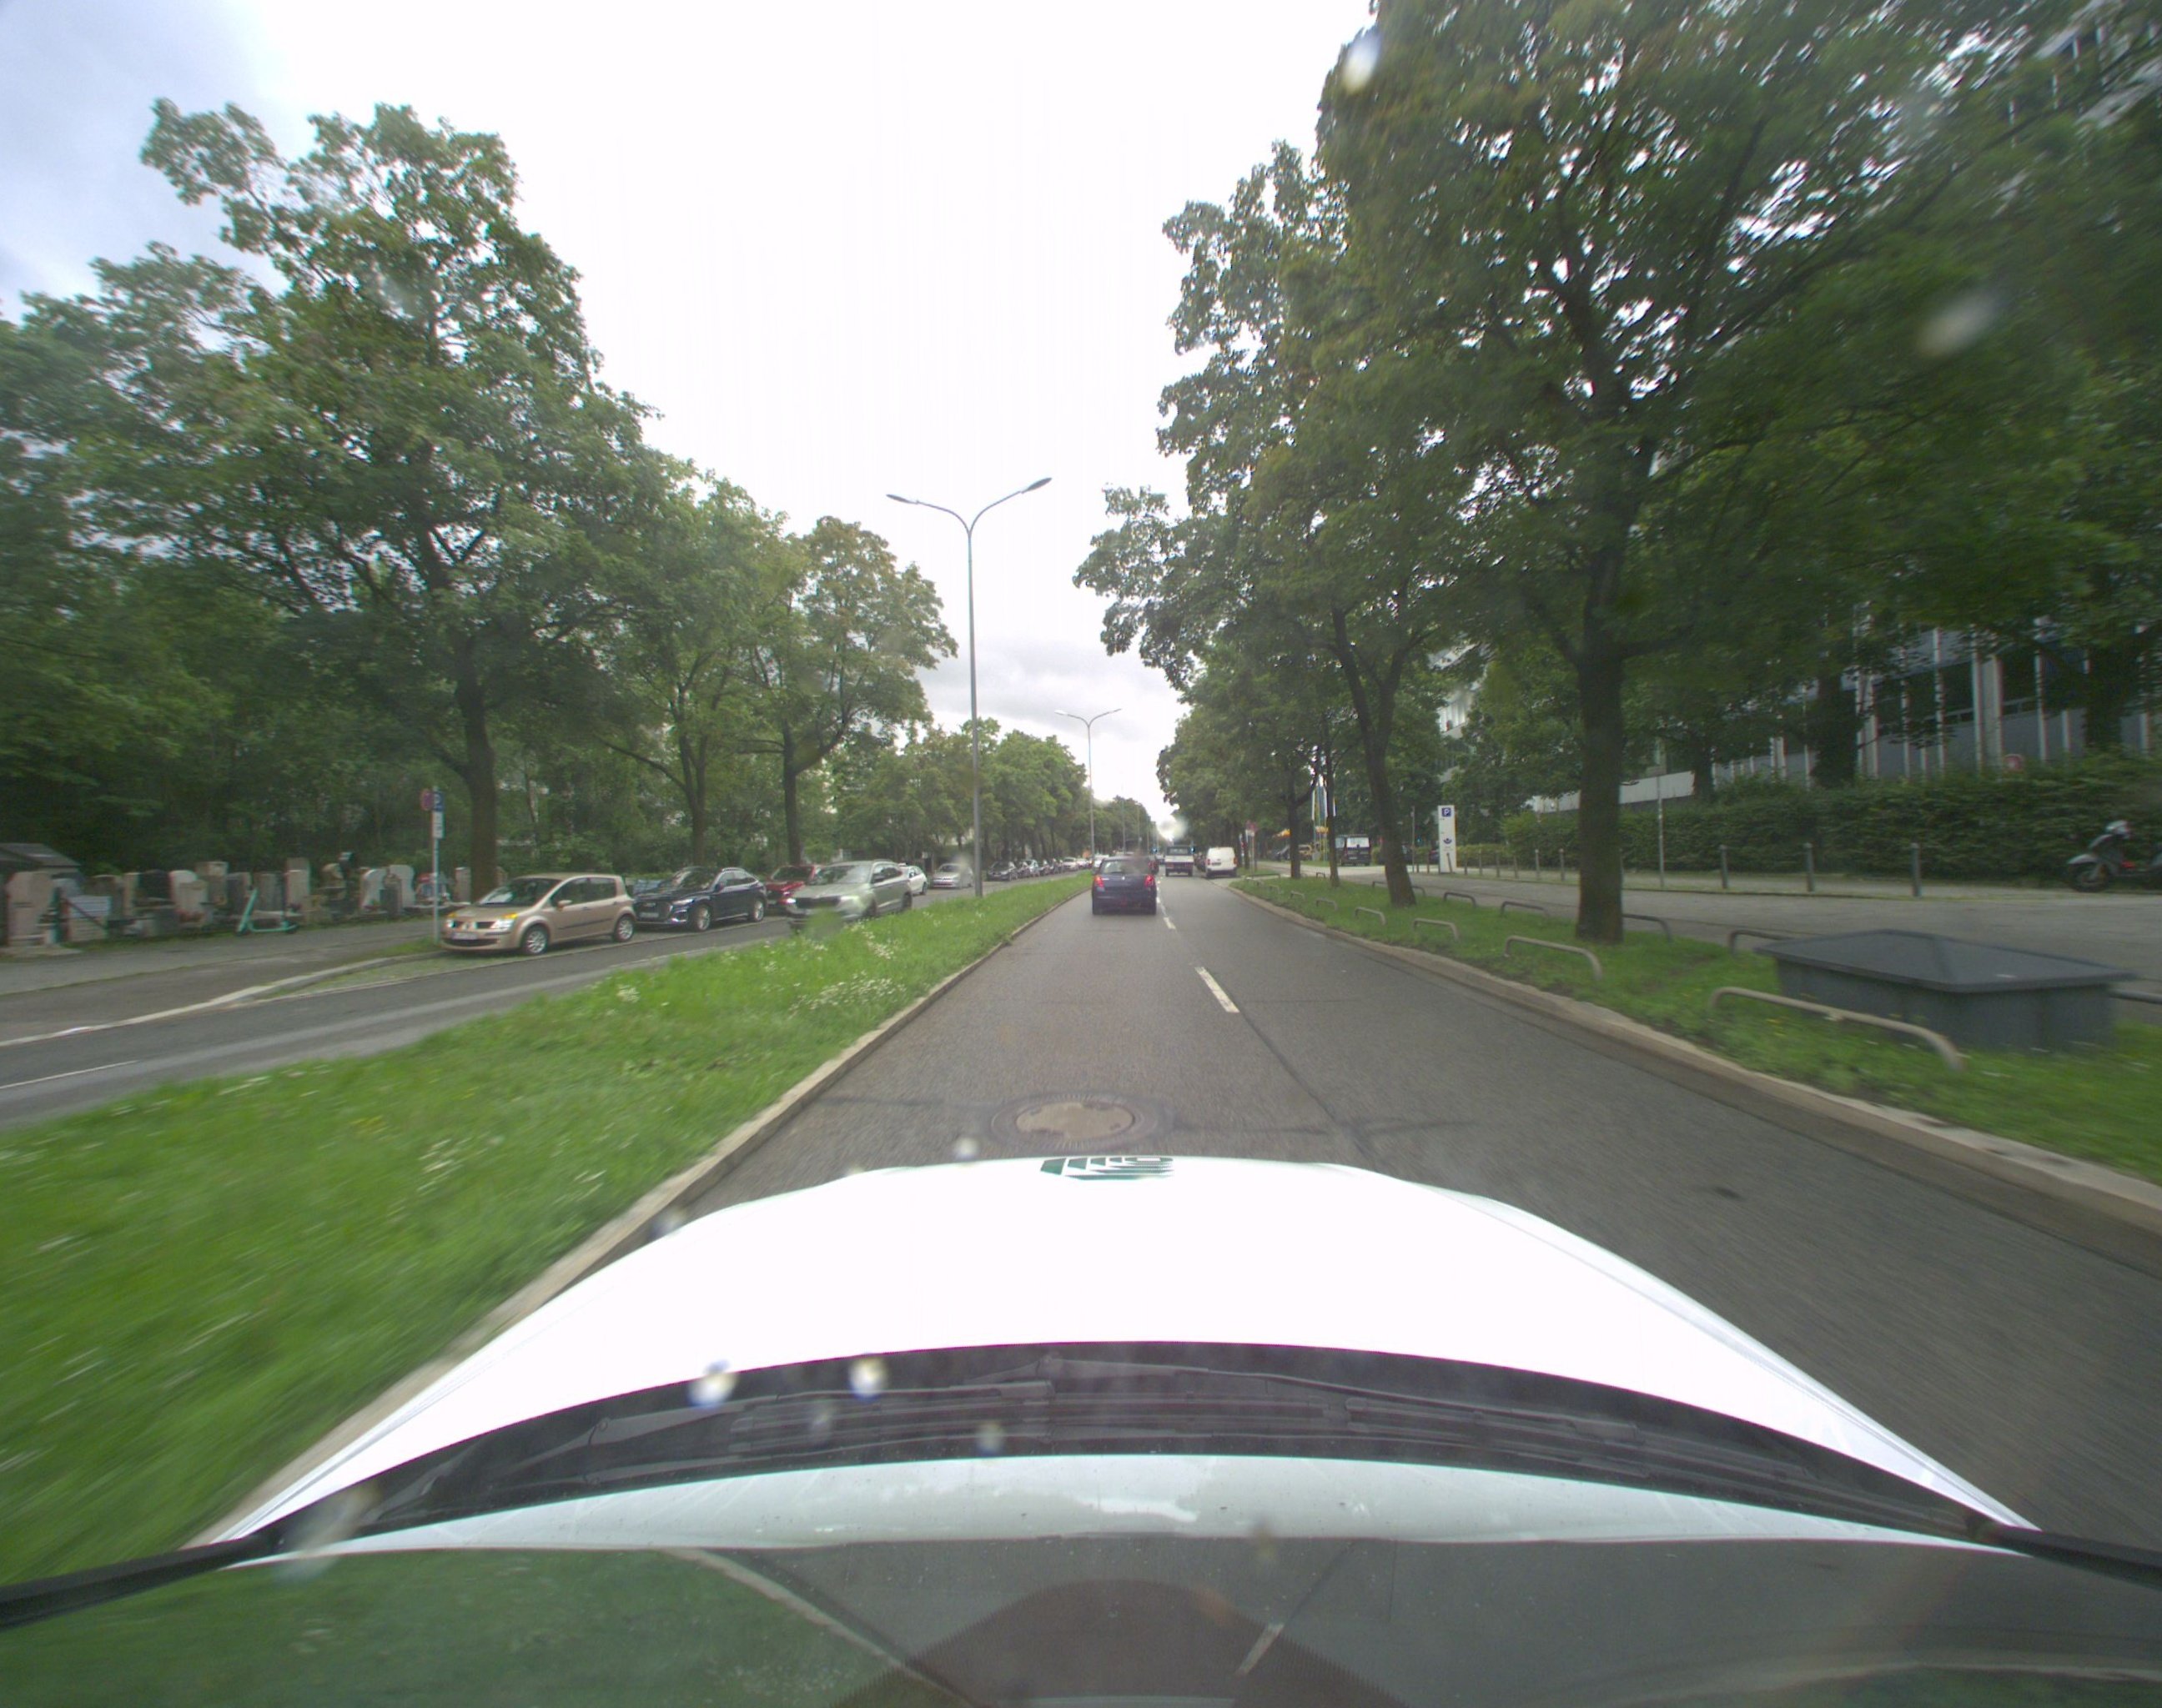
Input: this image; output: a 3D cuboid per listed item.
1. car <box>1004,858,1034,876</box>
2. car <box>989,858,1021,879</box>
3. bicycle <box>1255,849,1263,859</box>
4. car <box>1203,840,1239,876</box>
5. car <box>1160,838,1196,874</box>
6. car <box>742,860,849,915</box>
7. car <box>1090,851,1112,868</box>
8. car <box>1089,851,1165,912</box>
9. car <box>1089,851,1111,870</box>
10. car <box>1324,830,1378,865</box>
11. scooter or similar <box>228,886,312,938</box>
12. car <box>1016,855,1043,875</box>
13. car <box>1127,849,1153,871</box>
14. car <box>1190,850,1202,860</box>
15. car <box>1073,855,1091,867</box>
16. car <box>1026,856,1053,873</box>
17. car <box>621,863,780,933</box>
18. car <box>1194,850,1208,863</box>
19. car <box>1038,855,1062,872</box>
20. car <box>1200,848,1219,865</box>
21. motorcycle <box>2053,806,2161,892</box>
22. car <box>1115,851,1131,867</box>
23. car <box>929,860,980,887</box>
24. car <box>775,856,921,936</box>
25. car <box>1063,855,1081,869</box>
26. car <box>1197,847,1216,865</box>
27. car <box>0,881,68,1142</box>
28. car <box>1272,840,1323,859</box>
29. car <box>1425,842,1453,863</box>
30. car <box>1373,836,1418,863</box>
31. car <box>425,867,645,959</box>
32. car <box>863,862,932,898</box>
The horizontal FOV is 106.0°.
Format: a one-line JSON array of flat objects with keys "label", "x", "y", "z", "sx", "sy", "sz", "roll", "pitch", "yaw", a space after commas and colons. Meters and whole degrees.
[{"label": "car", "x": -5.026, "y": 1.043, "z": 66.764, "sx": 1.617, "sy": 1.423, "sz": 4.201, "roll": 1, "pitch": 0, "yaw": 8}, {"label": "car", "x": -5.669, "y": 1.061, "z": 61.065, "sx": 1.572, "sy": 1.423, "sz": 4.370, "roll": 1, "pitch": 0, "yaw": 6}, {"label": "bicycle", "x": 23.242, "y": 0.007, "z": 106.508, "sx": 0.744, "sy": 1.183, "sz": 2.251, "roll": -2, "pitch": 0, "yaw": 7}, {"label": "car", "x": 9.156, "y": 0.217, "z": 53.552, "sx": 1.976, "sy": 2.157, "sz": 5.566, "roll": -3, "pitch": 0, "yaw": 7}, {"label": "car", "x": 6.996, "y": 0.130, "z": 58.292, "sx": 2.405, "sy": 2.444, "sz": 5.098, "roll": -1, "pitch": 0, "yaw": 8}, {"label": "car", "x": -9.747, "y": 1.082, "z": 28.196, "sx": 1.730, "sy": 1.651, "sz": 4.613, "roll": 0, "pitch": 0, "yaw": 5}, {"label": "car", "x": 2.126, "y": 0.555, "z": 84.828, "sx": 1.824, "sy": 1.642, "sz": 4.358, "roll": -3, "pitch": 0, "yaw": 6}, {"label": "car", "x": 1.268, "y": 0.684, "z": 22.234, "sx": 1.888, "sy": 1.499, "sz": 3.664, "roll": -1, "pitch": 0, "yaw": 4}, {"label": "car", "x": 2.500, "y": 0.840, "z": 104.362, "sx": 2.198, "sy": 2.194, "sz": 5.809, "roll": -4, "pitch": 0, "yaw": 6}, {"label": "car", "x": 19.751, "y": -0.451, "z": 59.915, "sx": 2.254, "sy": 2.306, "sz": 6.277, "roll": -3, "pitch": 0, "yaw": 5}, {"label": "scooter or similar", "x": -19.018, "y": 1.344, "z": 19.125, "sx": 0.431, "sy": 1.127, "sz": 1.296, "roll": -2, "pitch": 0, "yaw": 19}, {"label": "car", "x": -4.486, "y": 0.950, "z": 71.214, "sx": 1.617, "sy": 1.647, "sz": 3.875, "roll": 1, "pitch": 0, "yaw": 7}, {"label": "car", "x": 4.242, "y": 0.402, "z": 58.417, "sx": 1.791, "sy": 1.499, "sz": 3.664, "roll": -2, "pitch": 0, "yaw": 4}, {"label": "car", "x": 18.496, "y": 0.193, "z": 130.893, "sx": 1.751, "sy": 1.453, "sz": 4.641, "roll": -4, "pitch": 0, "yaw": 7}, {"label": "car", "x": 0.153, "y": 0.923, "z": 108.606, "sx": 1.822, "sy": 1.609, "sz": 4.501, "roll": 0, "pitch": 0, "yaw": 7}, {"label": "car", "x": -3.832, "y": 0.980, "z": 76.396, "sx": 1.707, "sy": 1.524, "sz": 5.043, "roll": 1, "pitch": 0, "yaw": 6}, {"label": "car", "x": -10.351, "y": 1.130, "z": 22.618, "sx": 1.729, "sy": 1.643, "sz": 4.694, "roll": -1, "pitch": 0, "yaw": 7}, {"label": "car", "x": 15.910, "y": 0.310, "z": 107.860, "sx": 1.769, "sy": 1.511, "sz": 4.295, "roll": -4, "pitch": 0, "yaw": 9}, {"label": "car", "x": -3.120, "y": 0.957, "z": 81.954, "sx": 1.676, "sy": 1.597, "sz": 4.219, "roll": 0, "pitch": 0, "yaw": 7}, {"label": "car", "x": 12.198, "y": 0.222, "z": 77.348, "sx": 1.691, "sy": 1.408, "sz": 4.524, "roll": -3, "pitch": 0, "yaw": 9}, {"label": "motorcycle", "x": 16.816, "y": -0.082, "z": 12.732, "sx": 0.548, "sy": 1.318, "sz": 2.068, "roll": -2, "pitch": 0, "yaw": -8}, {"label": "car", "x": 5.769, "y": 0.664, "z": 110.474, "sx": 1.771, "sy": 2.029, "sz": 4.827, "roll": -3, "pitch": 0, "yaw": 6}, {"label": "car", "x": -7.396, "y": 1.083, "z": 48.115, "sx": 1.727, "sy": 1.448, "sz": 4.831, "roll": 0, "pitch": 0, "yaw": 6}, {"label": "car", "x": -5.457, "y": 0.907, "z": 19.720, "sx": 1.757, "sy": 1.624, "sz": 4.385, "roll": -3, "pitch": 0, "yaw": 7}, {"label": "car", "x": -1.072, "y": 0.924, "z": 98.469, "sx": 1.748, "sy": 1.595, "sz": 4.497, "roll": 0, "pitch": 0, "yaw": 6}, {"label": "car", "x": 12.724, "y": 0.162, "z": 82.565, "sx": 1.802, "sy": 1.675, "sz": 4.811, "roll": -3, "pitch": 0, "yaw": 9}, {"label": "car", "x": -7.367, "y": 0.957, "z": 2.598, "sx": 1.906, "sy": 1.484, "sz": 4.872, "roll": -3, "pitch": 0, "yaw": 5}, {"label": "car", "x": 25.416, "y": -0.505, "z": 95.767, "sx": 5.442, "sy": 2.083, "sz": 2.150, "roll": -2, "pitch": 0, "yaw": 5}, {"label": "car", "x": 25.802, "y": -0.128, "z": 58.621, "sx": 1.766, "sy": 1.374, "sz": 3.988, "roll": -1, "pitch": 0, "yaw": 25}, {"label": "car", "x": 23.160, "y": -0.343, "z": 60.138, "sx": 1.833, "sy": 1.818, "sz": 4.478, "roll": -3, "pitch": 0, "yaw": 5}, {"label": "car", "x": -11.161, "y": 1.134, "z": 17.004, "sx": 1.638, "sy": 1.614, "sz": 3.828, "roll": -1, "pitch": 0, "yaw": 8}, {"label": "car", "x": -8.519, "y": 1.161, "z": 38.173, "sx": 1.729, "sy": 1.529, "sz": 4.484, "roll": 0, "pitch": 0, "yaw": 7}]
